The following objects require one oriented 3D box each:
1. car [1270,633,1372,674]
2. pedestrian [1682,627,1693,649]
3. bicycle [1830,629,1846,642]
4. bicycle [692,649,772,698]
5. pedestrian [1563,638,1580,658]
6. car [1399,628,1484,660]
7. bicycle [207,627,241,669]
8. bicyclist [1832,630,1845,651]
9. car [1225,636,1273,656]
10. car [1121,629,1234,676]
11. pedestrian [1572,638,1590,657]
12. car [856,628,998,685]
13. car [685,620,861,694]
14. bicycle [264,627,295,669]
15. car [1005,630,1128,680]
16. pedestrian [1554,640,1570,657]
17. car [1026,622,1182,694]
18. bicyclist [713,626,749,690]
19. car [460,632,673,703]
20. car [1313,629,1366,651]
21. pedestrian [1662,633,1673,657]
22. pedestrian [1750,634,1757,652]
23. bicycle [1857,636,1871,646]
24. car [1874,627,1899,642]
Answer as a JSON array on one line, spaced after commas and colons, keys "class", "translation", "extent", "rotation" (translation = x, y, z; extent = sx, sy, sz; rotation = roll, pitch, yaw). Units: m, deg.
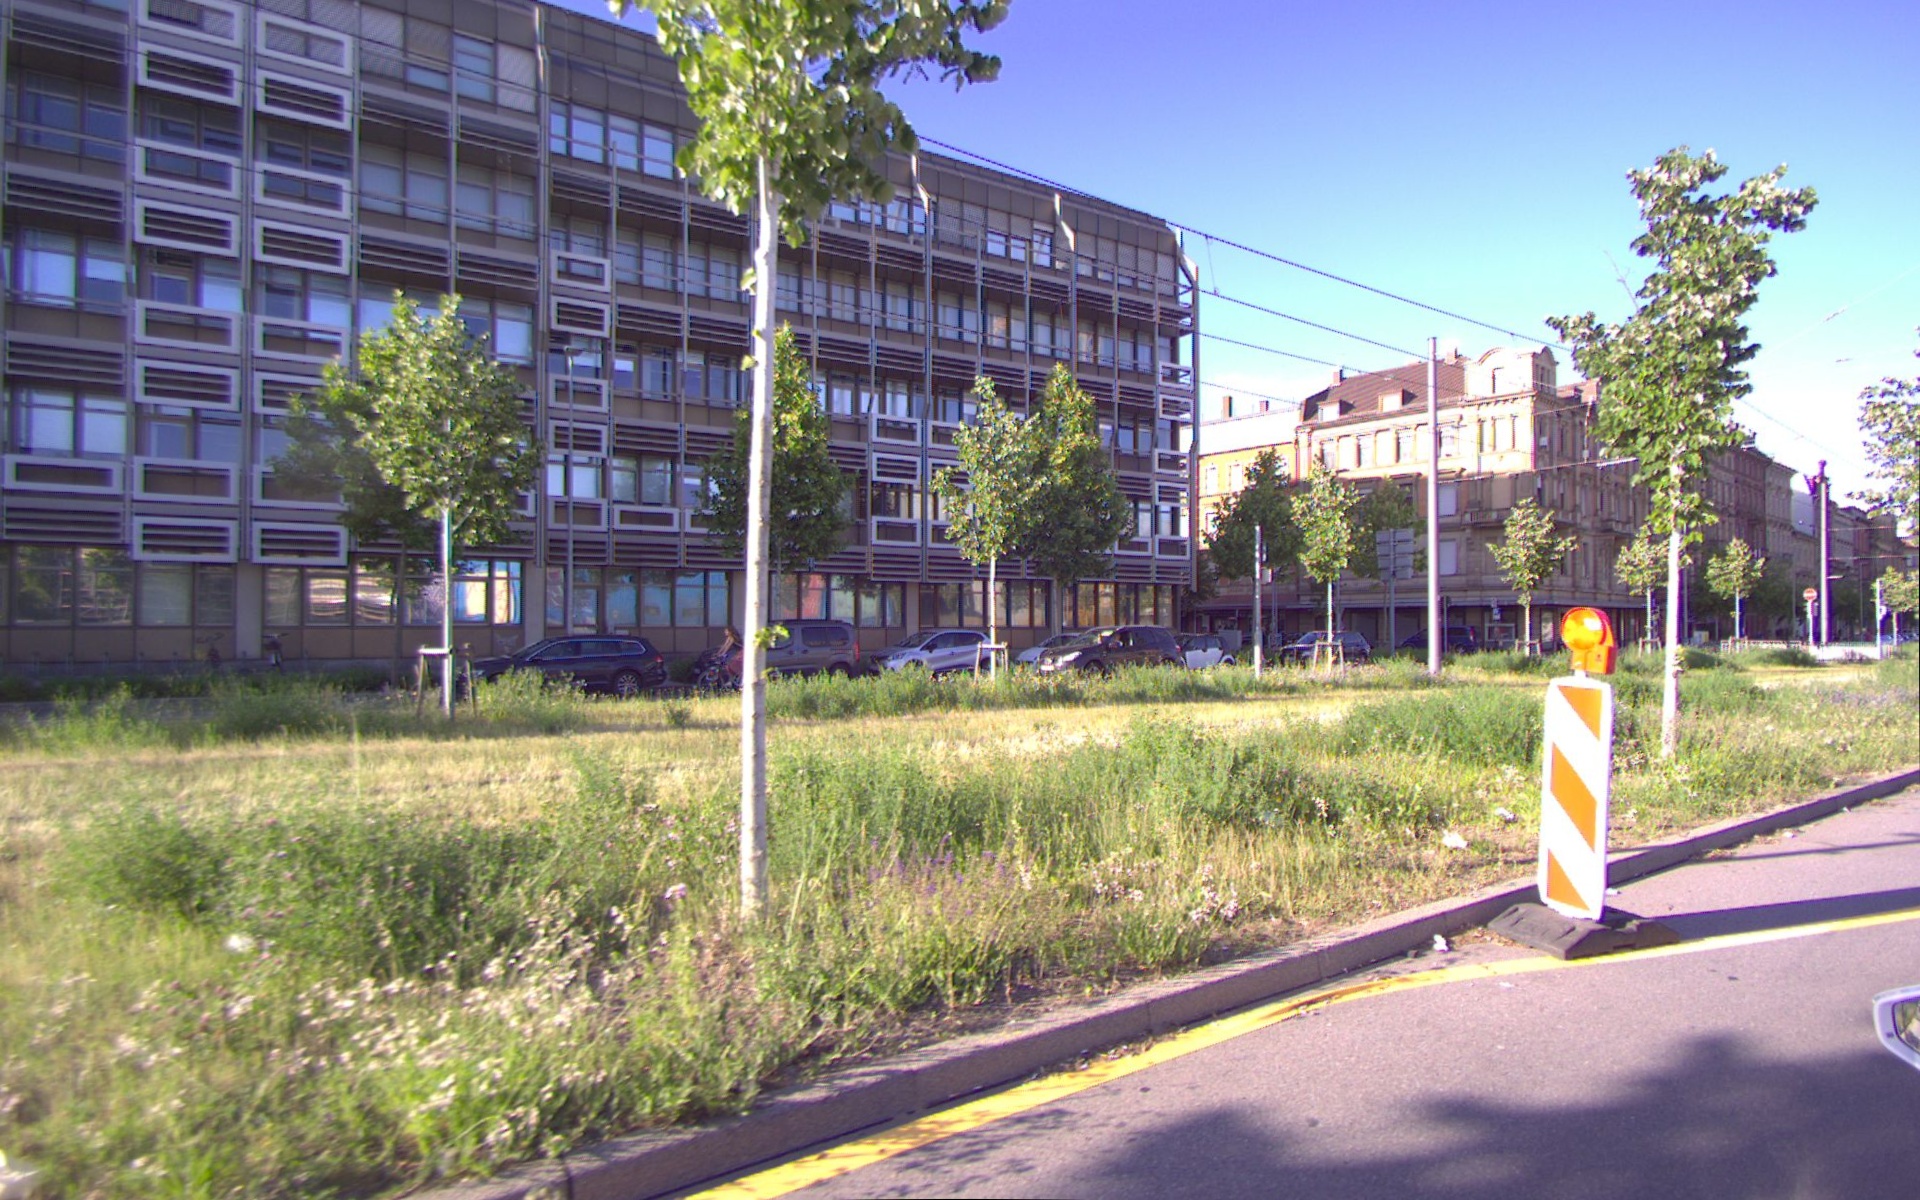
[{"class": "car", "translation": [14.627, 2.135, 40.719], "extent": [3.851, 1.481, 1.723], "rotation": [1, 1, -28]}, {"class": "pedestrian", "translation": [52.966, 2.769, 73.088], "extent": [0.529, 1.606, 0.483], "rotation": [2, 0, -40]}, {"class": "bicycle", "translation": [71.005, 2.879, 81.262], "extent": [1.812, 0.991, 0.689], "rotation": [2, -2, -40]}, {"class": "bicycle", "translation": [-5.387, 1.720, 23.772], "extent": [1.752, 1.110, 0.562], "rotation": [1, -2, -34]}, {"class": "pedestrian", "translation": [40.116, 3.135, 65.862], "extent": [0.921, 1.263, 0.684], "rotation": [2, -2, -39]}, {"class": "car", "translation": [30.494, 2.750, 63.705], "extent": [1.886, 1.928, 4.465], "rotation": [2, -2, -44]}, {"class": "bicycle", "translation": [-19.327, 1.252, 26.398], "extent": [0.419, 1.086, 1.868], "rotation": [1, -2, -27]}, {"class": "bicyclist", "translation": [71.336, 3.256, 81.563], "extent": [0.875, 1.679, 0.689], "rotation": [2, -2, -39]}, {"class": "car", "translation": [21.250, 3.374, 73.826], "extent": [1.570, 1.427, 3.023], "rotation": [2, -2, -44]}, {"class": "car", "translation": [7.745, 1.831, 35.729], "extent": [3.923, 1.574, 1.640], "rotation": [1, -1, -33]}, {"class": "pedestrian", "translation": [41.485, 3.156, 67.070], "extent": [0.921, 1.224, 0.785], "rotation": [2, -2, -39]}, {"class": "car", "translation": [-0.945, 1.607, 29.536], "extent": [3.842, 1.556, 1.728], "rotation": [1, -1, -33]}, {"class": "car", "translation": [-4.944, 1.454, 26.748], "extent": [4.284, 1.795, 1.741], "rotation": [1, 0, -33]}, {"class": "bicycle", "translation": [-18.318, 1.289, 27.060], "extent": [0.419, 1.086, 1.922], "rotation": [1, -2, -27]}, {"class": "car", "translation": [3.460, 1.746, 32.448], "extent": [3.777, 1.460, 1.615], "rotation": [1, 0, -33]}, {"class": "pedestrian", "translation": [40.100, 3.242, 66.930], "extent": [0.729, 1.073, 0.684], "rotation": [2, -2, -39]}, {"class": "car", "translation": [3.891, 1.509, 26.900], "extent": [4.080, 1.770, 1.717], "rotation": [2, -1, -35]}, {"class": "bicyclist", "translation": [-5.419, 1.366, 23.761], "extent": [0.698, 1.476, 0.562], "rotation": [1, -2, -34]}, {"class": "car", "translation": [-9.303, 1.529, 23.883], "extent": [4.457, 1.488, 1.719], "rotation": [1, 0, -34]}, {"class": "car", "translation": [25.903, 2.697, 68.545], "extent": [1.375, 1.487, 3.113], "rotation": [2, -2, -44]}, {"class": "pedestrian", "translation": [52.389, 3.317, 74.360], "extent": [0.403, 1.788, 0.503], "rotation": [2, 0, -40]}, {"class": "pedestrian", "translation": [72.174, 3.896, 91.366], "extent": [0.422, 1.606, 0.400], "rotation": [2, 0, -40]}, {"class": "bicycle", "translation": [80.877, 3.701, 89.901], "extent": [2.014, 0.869, 0.632], "rotation": [2, -2, -39]}, {"class": "car", "translation": [102.542, 3.789, 111.140], "extent": [4.678, 1.583, 1.553], "rotation": [2, -2, -41]}]
